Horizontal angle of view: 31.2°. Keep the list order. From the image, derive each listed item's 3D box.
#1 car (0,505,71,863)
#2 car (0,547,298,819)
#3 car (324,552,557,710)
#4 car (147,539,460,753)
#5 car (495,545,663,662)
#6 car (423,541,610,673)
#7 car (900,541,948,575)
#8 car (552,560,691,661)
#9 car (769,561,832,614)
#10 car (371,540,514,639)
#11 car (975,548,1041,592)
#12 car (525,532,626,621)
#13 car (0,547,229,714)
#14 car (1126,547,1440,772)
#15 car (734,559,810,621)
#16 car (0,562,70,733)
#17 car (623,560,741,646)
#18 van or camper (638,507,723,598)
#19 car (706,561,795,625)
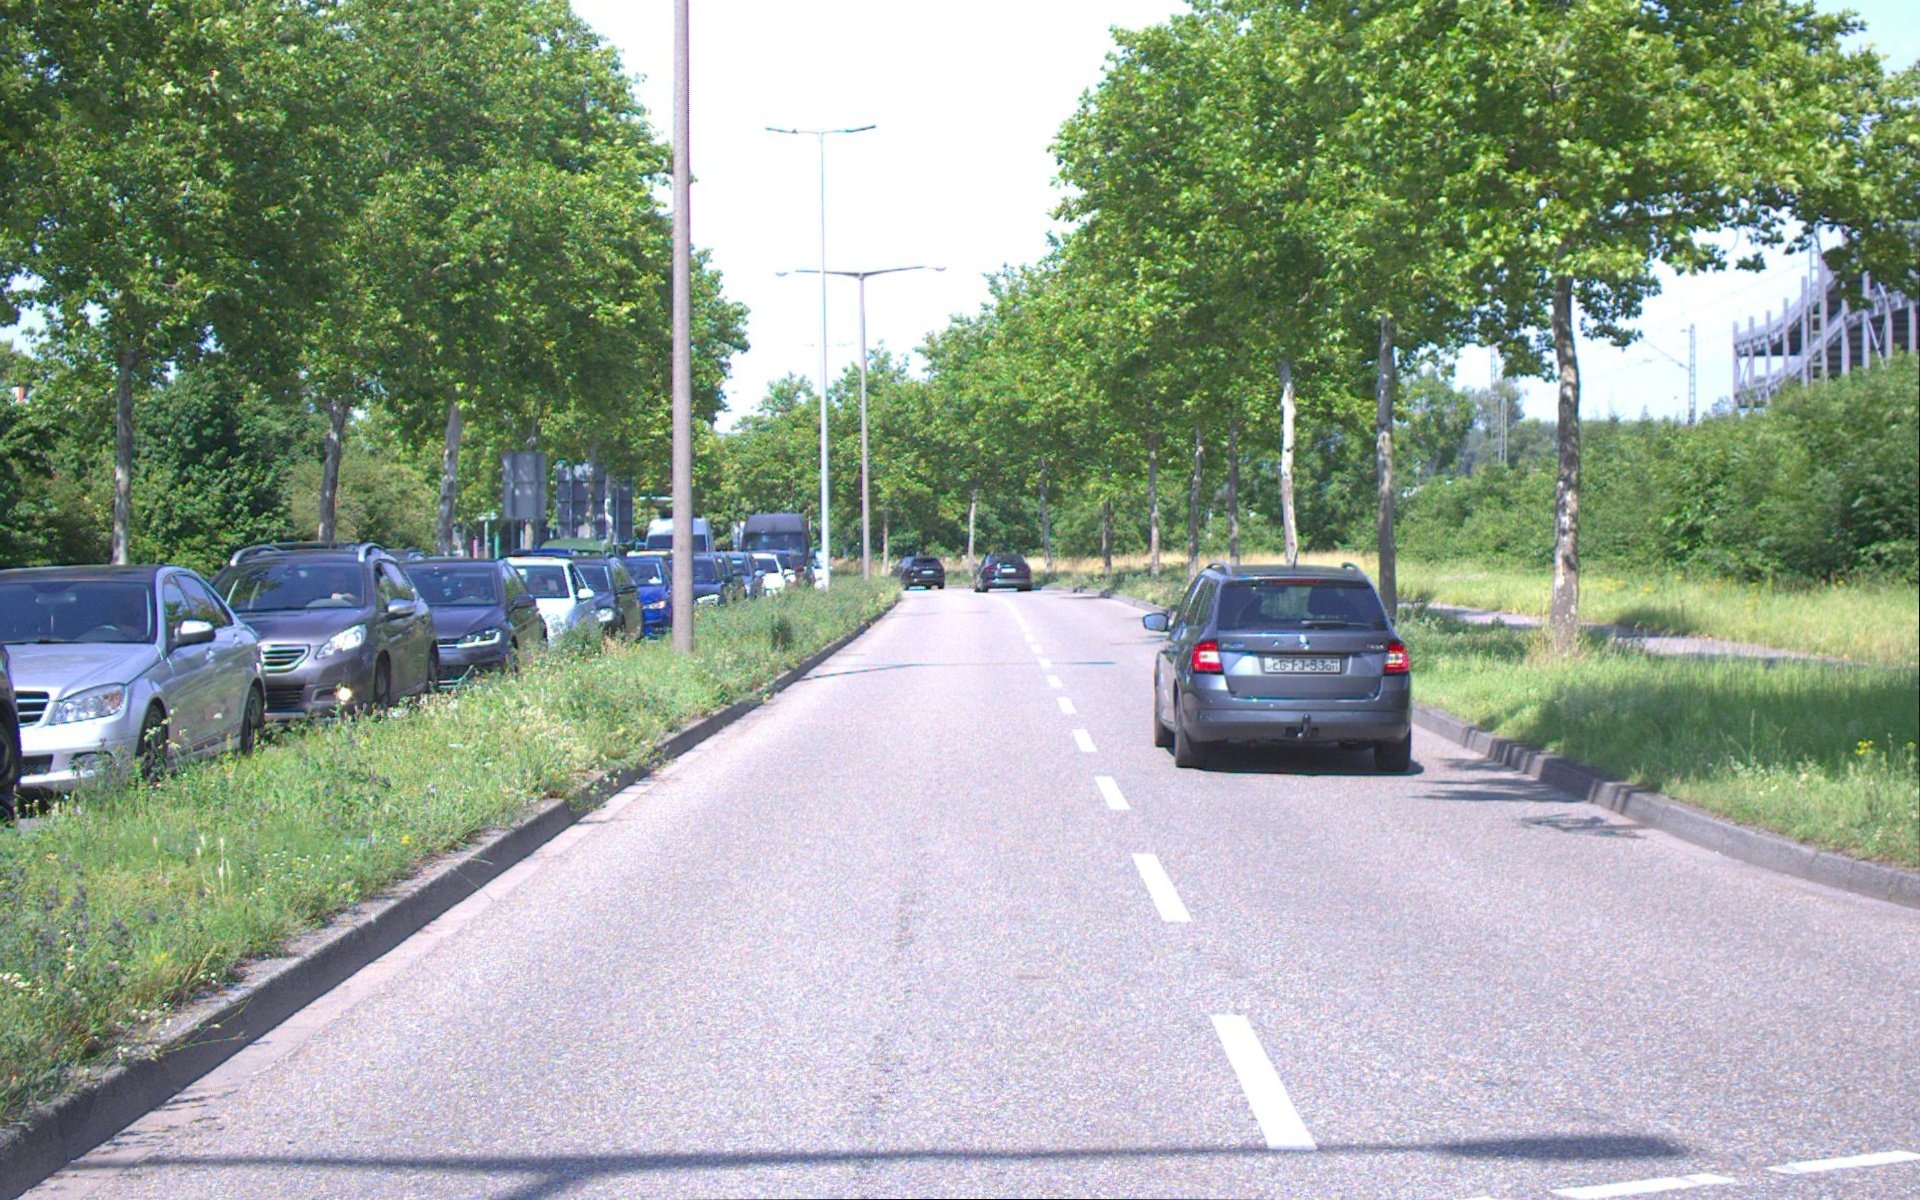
[{"bbox_3d":[-5.322,0.393,14.635,1.820,1.641,4.694,-1,0,0],"label":"car"},{"bbox_3d":[-5.387,0.426,20.880,1.797,1.463,4.523,-1,1,1],"label":"car"},{"bbox_3d":[-5.256,0.269,35.273,1.689,1.468,4.218,-2,1,0],"label":"car"},{"bbox_3d":[-5.239,0.319,27.948,1.689,1.581,4.240,-1,1,0],"label":"car"},{"bbox_3d":[-5.270,0.018,48.112,1.758,1.525,4.828,-1,1,0],"label":"car"},{"bbox_3d":[-5.211,0.053,40.822,1.689,1.467,3.815,-1,1,0],"label":"car"},{"bbox_3d":[-1.613,-1.854,151.157,1.908,1.458,4.583,0,1,-3],"label":"car"},{"bbox_3d":[-5.222,0.132,53.521,1.784,1.484,4.211,-1,1,-1],"label":"car"},{"bbox_3d":[-4.807,-0.371,104.145,1.689,1.525,3.814,-1,0,0],"label":"car"},{"bbox_3d":[-8.409,-0.191,56.106,1.689,1.525,3.939,-1,1,0],"label":"car"},{"bbox_3d":[1.709,-1.101,124.387,1.908,1.458,4.622,0,2,-5],"label":"car"},{"bbox_3d":[-8.341,-0.506,74.765,1.689,1.852,4.036,-1,0,0],"label":"car"},{"bbox_3d":[-8.566,0.260,34.281,1.689,1.525,4.084,-2,1,-1],"label":"car"},{"bbox_3d":[2.285,0.375,25.282,1.674,1.448,4.036,3,1,-3],"label":"car"},{"bbox_3d":[-4.760,-0.278,87.476,1.689,1.505,3.815,-1,1,0],"label":"car"},{"bbox_3d":[-8.949,0.431,29.618,1.565,1.447,3.545,-2,1,0],"label":"car"},{"bbox_3d":[-4.992,0.031,62.190,1.823,1.460,4.450,-1,1,-1],"label":"car"},{"bbox_3d":[-8.276,-1.407,102.211,2.015,2.579,5.517,-1,1,0],"label":"van or camper"},{"bbox_3d":[-4.906,-0.187,81.044,1.783,1.454,4.472,-1,1,0],"label":"car"}]
